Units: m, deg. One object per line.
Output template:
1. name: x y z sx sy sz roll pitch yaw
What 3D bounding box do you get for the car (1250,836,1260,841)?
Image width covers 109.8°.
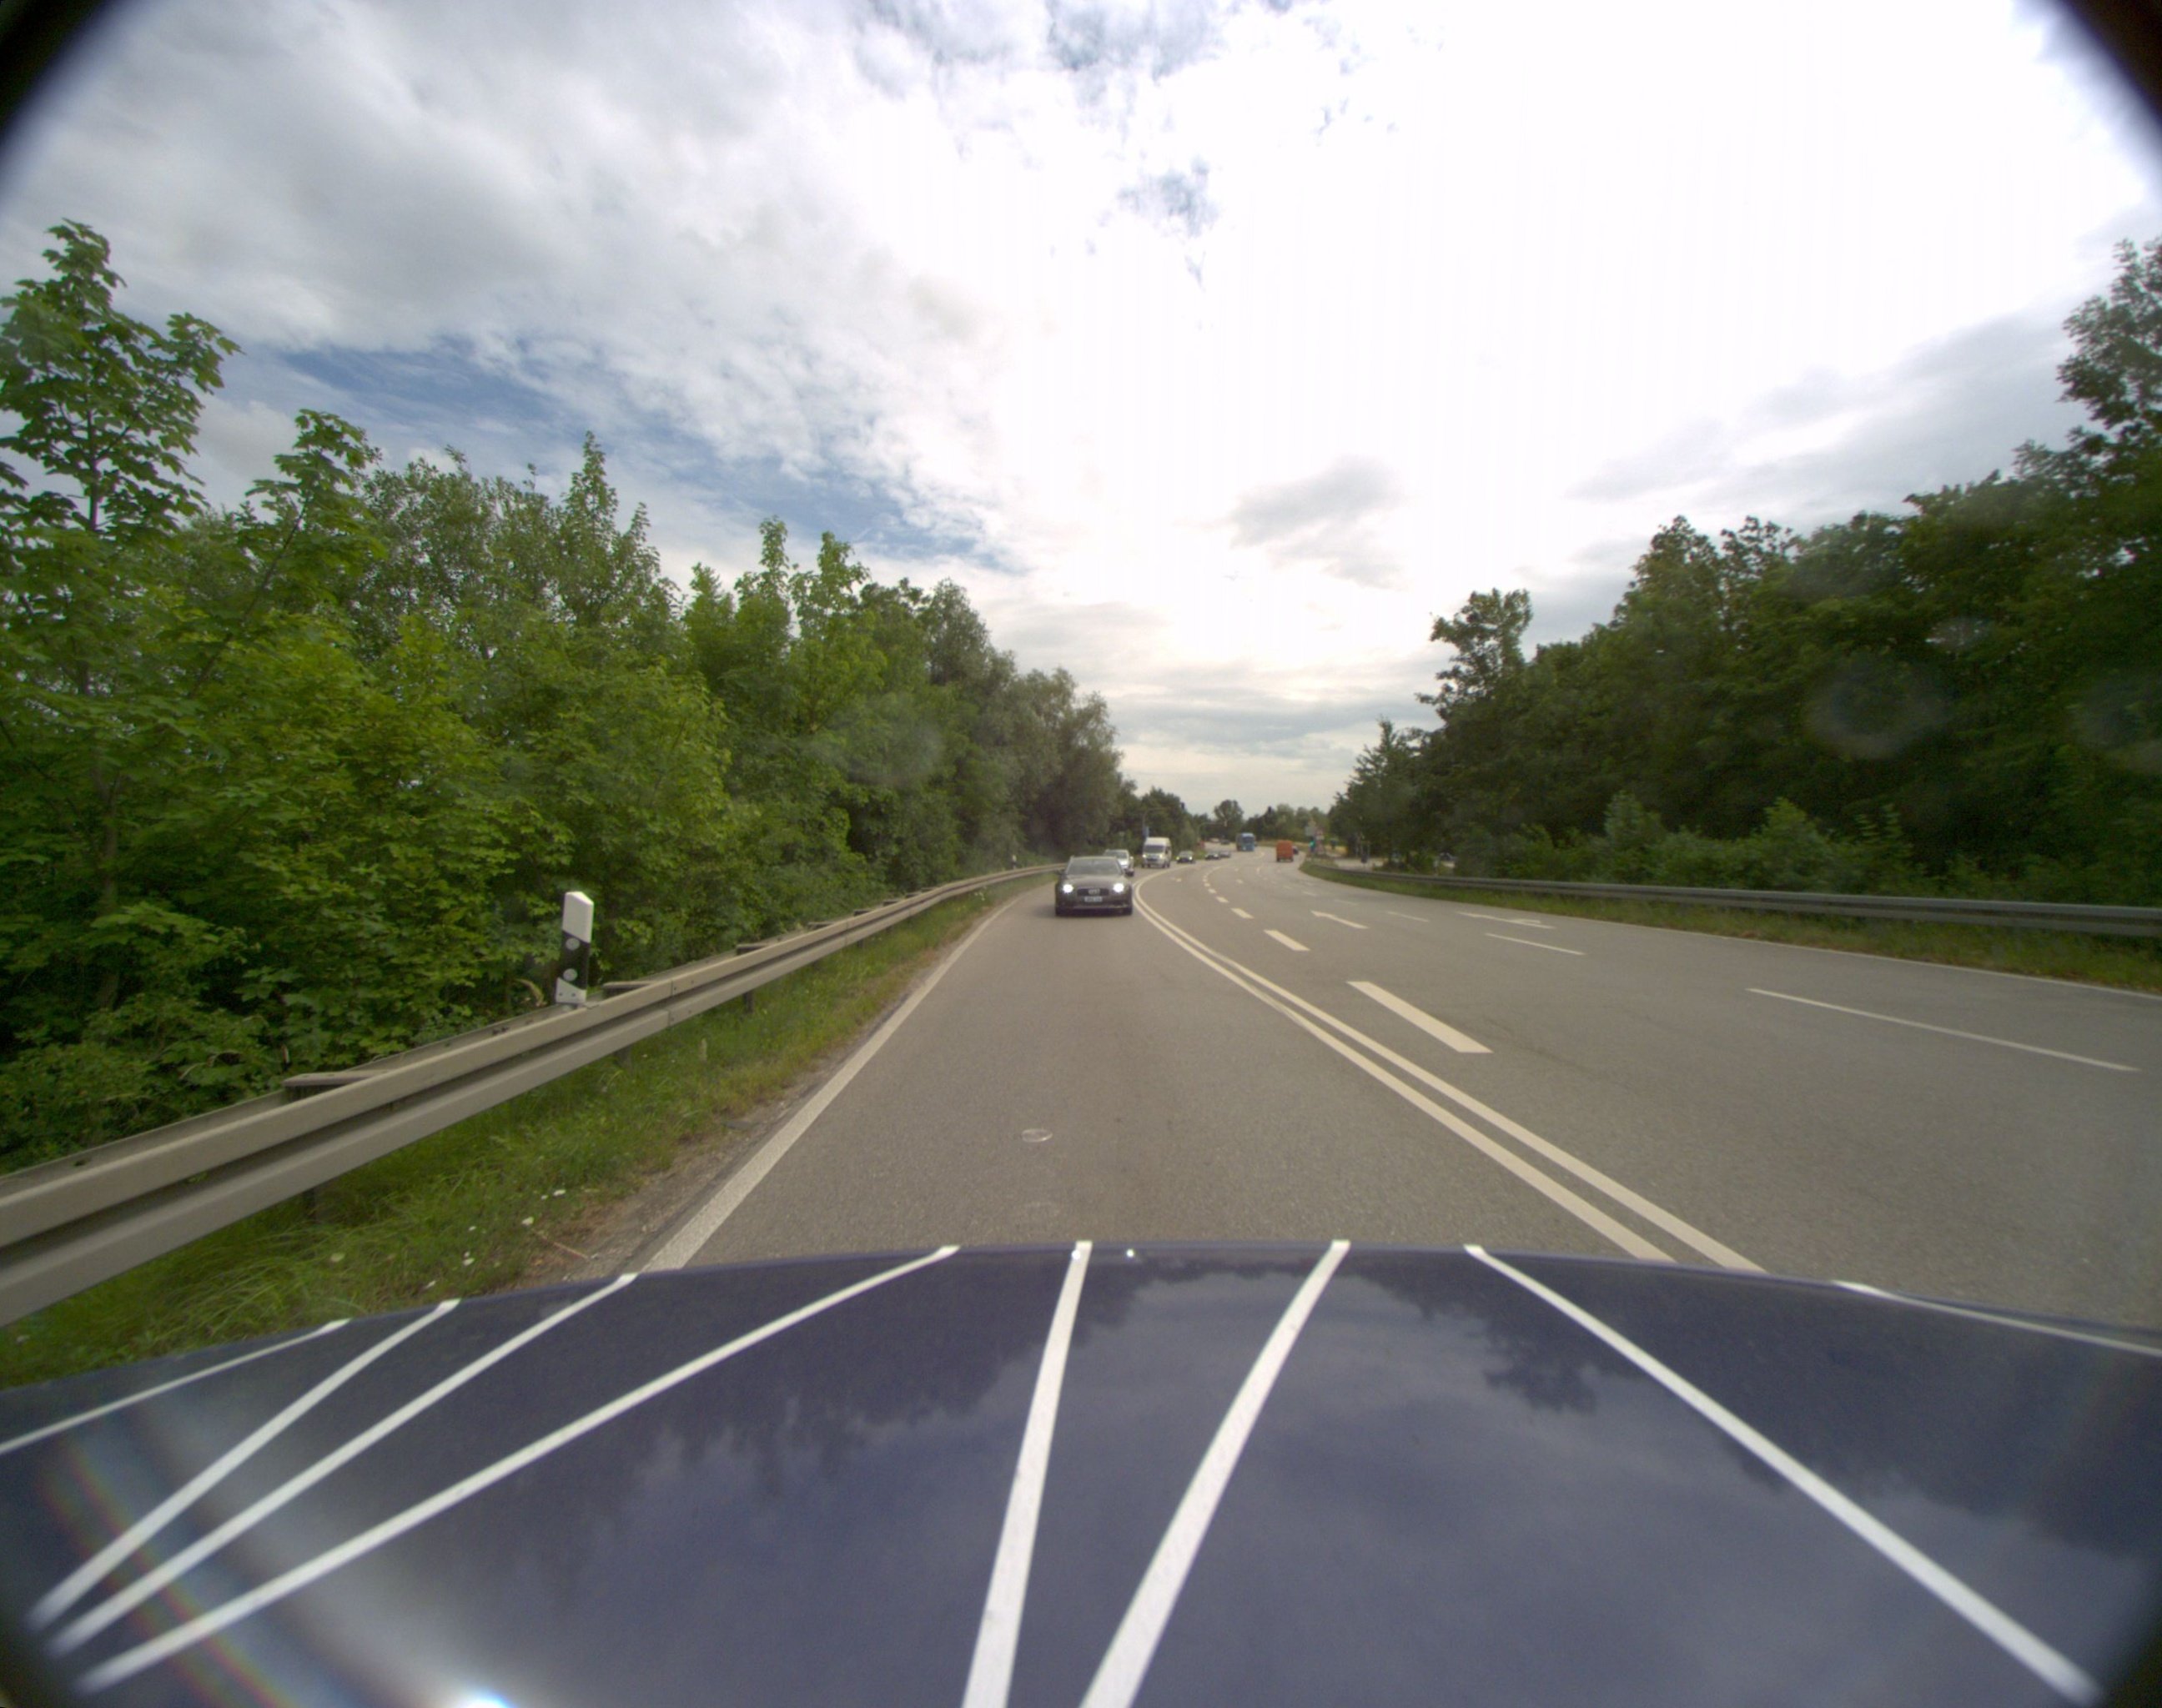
1. car: 47.211 -4.219 205.878 1.744 1.478 4.199 0 1 1

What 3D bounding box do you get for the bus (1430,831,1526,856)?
1. bus: 49.355 -1.289 94.727 10.060 3.029 3.123 0 1 7

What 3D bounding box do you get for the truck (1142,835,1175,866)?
1. truck: 7.063 -0.366 68.600 2.377 2.579 6.003 1 1 11

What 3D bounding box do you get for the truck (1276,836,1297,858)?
1. truck: 25.826 -0.884 95.782 2.319 2.586 6.029 2 1 14

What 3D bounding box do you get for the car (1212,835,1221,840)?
1. car: 45.492 -5.607 255.134 1.745 1.477 3.996 -3 1 -10

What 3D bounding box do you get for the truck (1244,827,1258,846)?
1. truck: 38.765 -3.975 173.477 3.024 4.325 9.578 0 1 12

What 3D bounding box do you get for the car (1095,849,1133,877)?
1. car: 1.998 0.465 44.534 1.825 1.489 4.226 2 1 7

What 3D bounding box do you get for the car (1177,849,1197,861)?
1. car: 12.314 0.106 87.980 1.742 1.317 4.005 2 1 16

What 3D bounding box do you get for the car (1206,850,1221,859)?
1. car: 19.341 0.056 110.615 1.742 1.317 4.004 2 1 14

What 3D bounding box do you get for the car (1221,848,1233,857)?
1. car: 23.702 -0.312 123.496 1.743 1.317 4.003 2 1 10

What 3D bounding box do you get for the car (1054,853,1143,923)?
1. car: 0.457 0.758 19.284 1.964 1.447 4.796 -1 1 1

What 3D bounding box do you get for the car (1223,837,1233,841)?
1. car: 45.285 -4.659 234.145 1.745 1.378 3.997 0 2 -4

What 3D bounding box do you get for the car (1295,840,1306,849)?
1. car: 37.449 -1.583 129.583 1.719 1.489 4.554 1 0 18
